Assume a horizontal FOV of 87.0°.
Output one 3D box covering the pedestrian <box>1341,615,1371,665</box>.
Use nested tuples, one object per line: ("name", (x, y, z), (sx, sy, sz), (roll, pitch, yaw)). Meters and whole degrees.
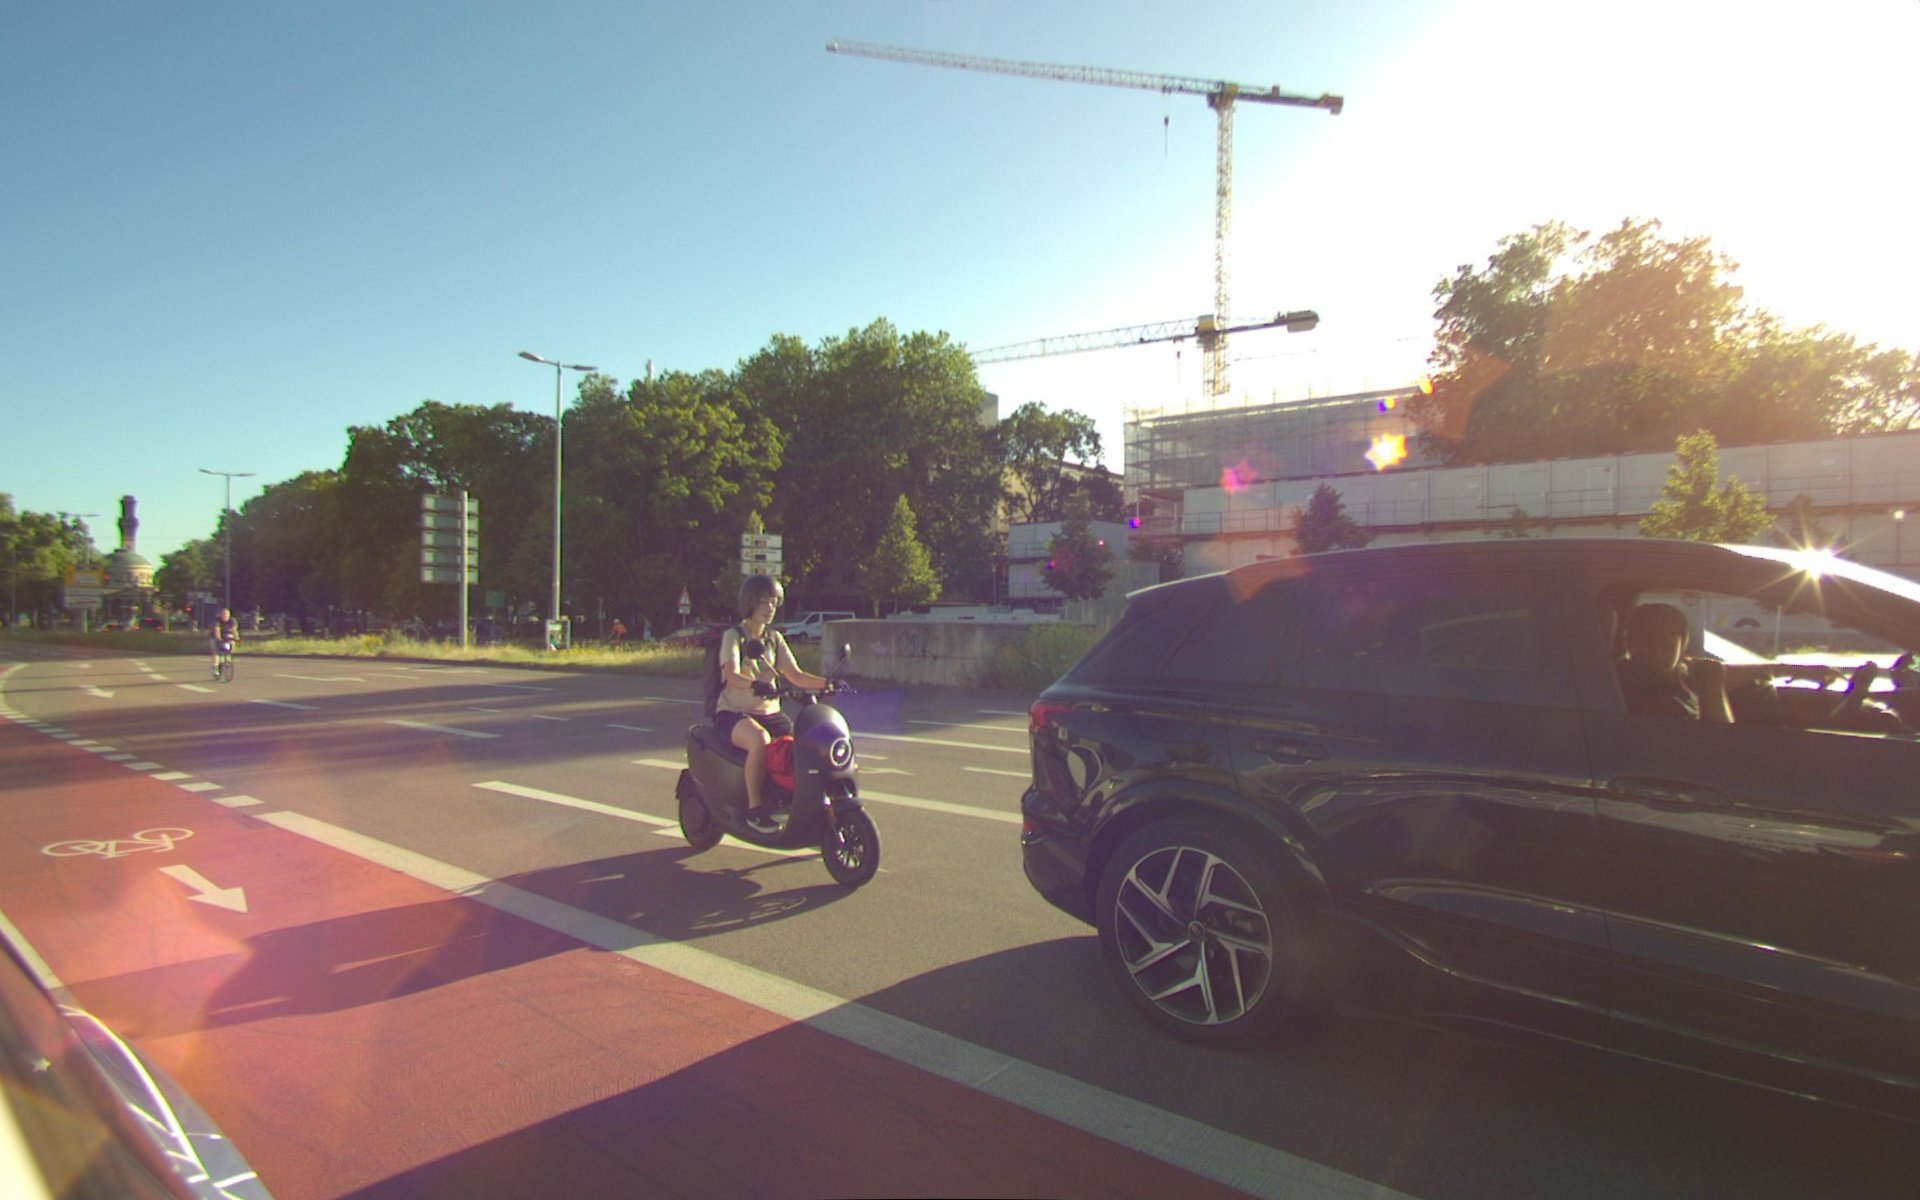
("pedestrian", (13.044, 1.310, 33.322), (0.654, 1.601, 0.829), (-1, -2, 41))

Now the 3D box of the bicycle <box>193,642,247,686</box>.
("bicycle", (-16.760, 1.437, 22.906), (1.910, 0.915, 0.616), (-1, -1, 42))

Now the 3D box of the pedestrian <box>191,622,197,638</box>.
("pedestrian", (-95.398, 3.730, 126.044), (0.594, 2.029, 0.519), (-1, -2, 38))

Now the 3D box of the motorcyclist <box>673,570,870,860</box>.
("motorcyclist", (-1.088, 0.602, 5.814), (0.746, 1.495, 0.882), (0, -1, -45))

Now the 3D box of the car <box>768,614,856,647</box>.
("car", (-9.011, 1.855, 61.812), (2.000, 1.906, 5.256), (-2, -3, 42))

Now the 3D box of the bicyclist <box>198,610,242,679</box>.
("bicyclist", (-16.701, 0.984, 22.836), (0.937, 1.515, 0.616), (-1, -1, 42))

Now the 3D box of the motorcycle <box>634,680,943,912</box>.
("motorcycle", (-1.045, 1.006, 5.759), (0.746, 0.976, 1.961), (0, -1, -45))

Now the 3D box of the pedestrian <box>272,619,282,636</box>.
("pedestrian", (-86.044, 3.461, 127.506), (0.691, 2.029, 0.691), (-1, -2, 24))

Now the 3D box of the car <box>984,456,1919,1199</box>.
("car", (2.620, 0.549, 3.103), (4.786, 1.675, 2.172), (-1, -2, 39))

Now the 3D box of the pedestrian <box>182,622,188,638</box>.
("pedestrian", (-98.668, 3.775, 128.827), (0.594, 2.029, 0.519), (-1, -2, 38))

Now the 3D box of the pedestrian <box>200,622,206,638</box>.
("pedestrian", (-94.857, 3.723, 126.825), (0.594, 2.029, 0.519), (-1, -2, 38))

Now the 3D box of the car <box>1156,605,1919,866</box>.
("car", (3.874, 0.739, 7.435), (4.523, 1.362, 1.753), (-1, -1, 40))

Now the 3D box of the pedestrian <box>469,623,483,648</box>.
("pedestrian", (-33.025, 2.407, 69.026), (0.697, 1.740, 0.656), (-1, -2, 41))

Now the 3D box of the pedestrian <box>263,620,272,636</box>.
("pedestrian", (-86.812, 3.473, 126.837), (0.691, 2.029, 0.691), (-1, -2, 24))

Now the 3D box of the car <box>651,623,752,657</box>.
("car", (-9.214, 1.385, 35.966), (3.767, 1.141, 1.598), (-1, -1, 40))

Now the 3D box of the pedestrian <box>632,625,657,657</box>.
("pedestrian", (-18.080, 2.328, 57.961), (0.964, 1.796, 0.984), (-1, 0, 41))

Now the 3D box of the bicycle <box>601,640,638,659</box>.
("bicycle", (-14.670, 2.127, 43.611), (1.979, 0.810, 0.609), (-1, -2, 41))

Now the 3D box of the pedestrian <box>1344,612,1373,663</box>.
("pedestrian", (13.510, 1.257, 34.330), (0.654, 1.693, 0.829), (-1, -2, 41))

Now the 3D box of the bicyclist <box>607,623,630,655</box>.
("bicyclist", (-14.727, 1.691, 43.672), (0.768, 1.377, 0.609), (-1, -2, 41))

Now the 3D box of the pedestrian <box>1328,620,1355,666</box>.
("pedestrian", (12.375, 1.390, 32.829), (0.654, 1.464, 0.596), (-1, -2, 41))
